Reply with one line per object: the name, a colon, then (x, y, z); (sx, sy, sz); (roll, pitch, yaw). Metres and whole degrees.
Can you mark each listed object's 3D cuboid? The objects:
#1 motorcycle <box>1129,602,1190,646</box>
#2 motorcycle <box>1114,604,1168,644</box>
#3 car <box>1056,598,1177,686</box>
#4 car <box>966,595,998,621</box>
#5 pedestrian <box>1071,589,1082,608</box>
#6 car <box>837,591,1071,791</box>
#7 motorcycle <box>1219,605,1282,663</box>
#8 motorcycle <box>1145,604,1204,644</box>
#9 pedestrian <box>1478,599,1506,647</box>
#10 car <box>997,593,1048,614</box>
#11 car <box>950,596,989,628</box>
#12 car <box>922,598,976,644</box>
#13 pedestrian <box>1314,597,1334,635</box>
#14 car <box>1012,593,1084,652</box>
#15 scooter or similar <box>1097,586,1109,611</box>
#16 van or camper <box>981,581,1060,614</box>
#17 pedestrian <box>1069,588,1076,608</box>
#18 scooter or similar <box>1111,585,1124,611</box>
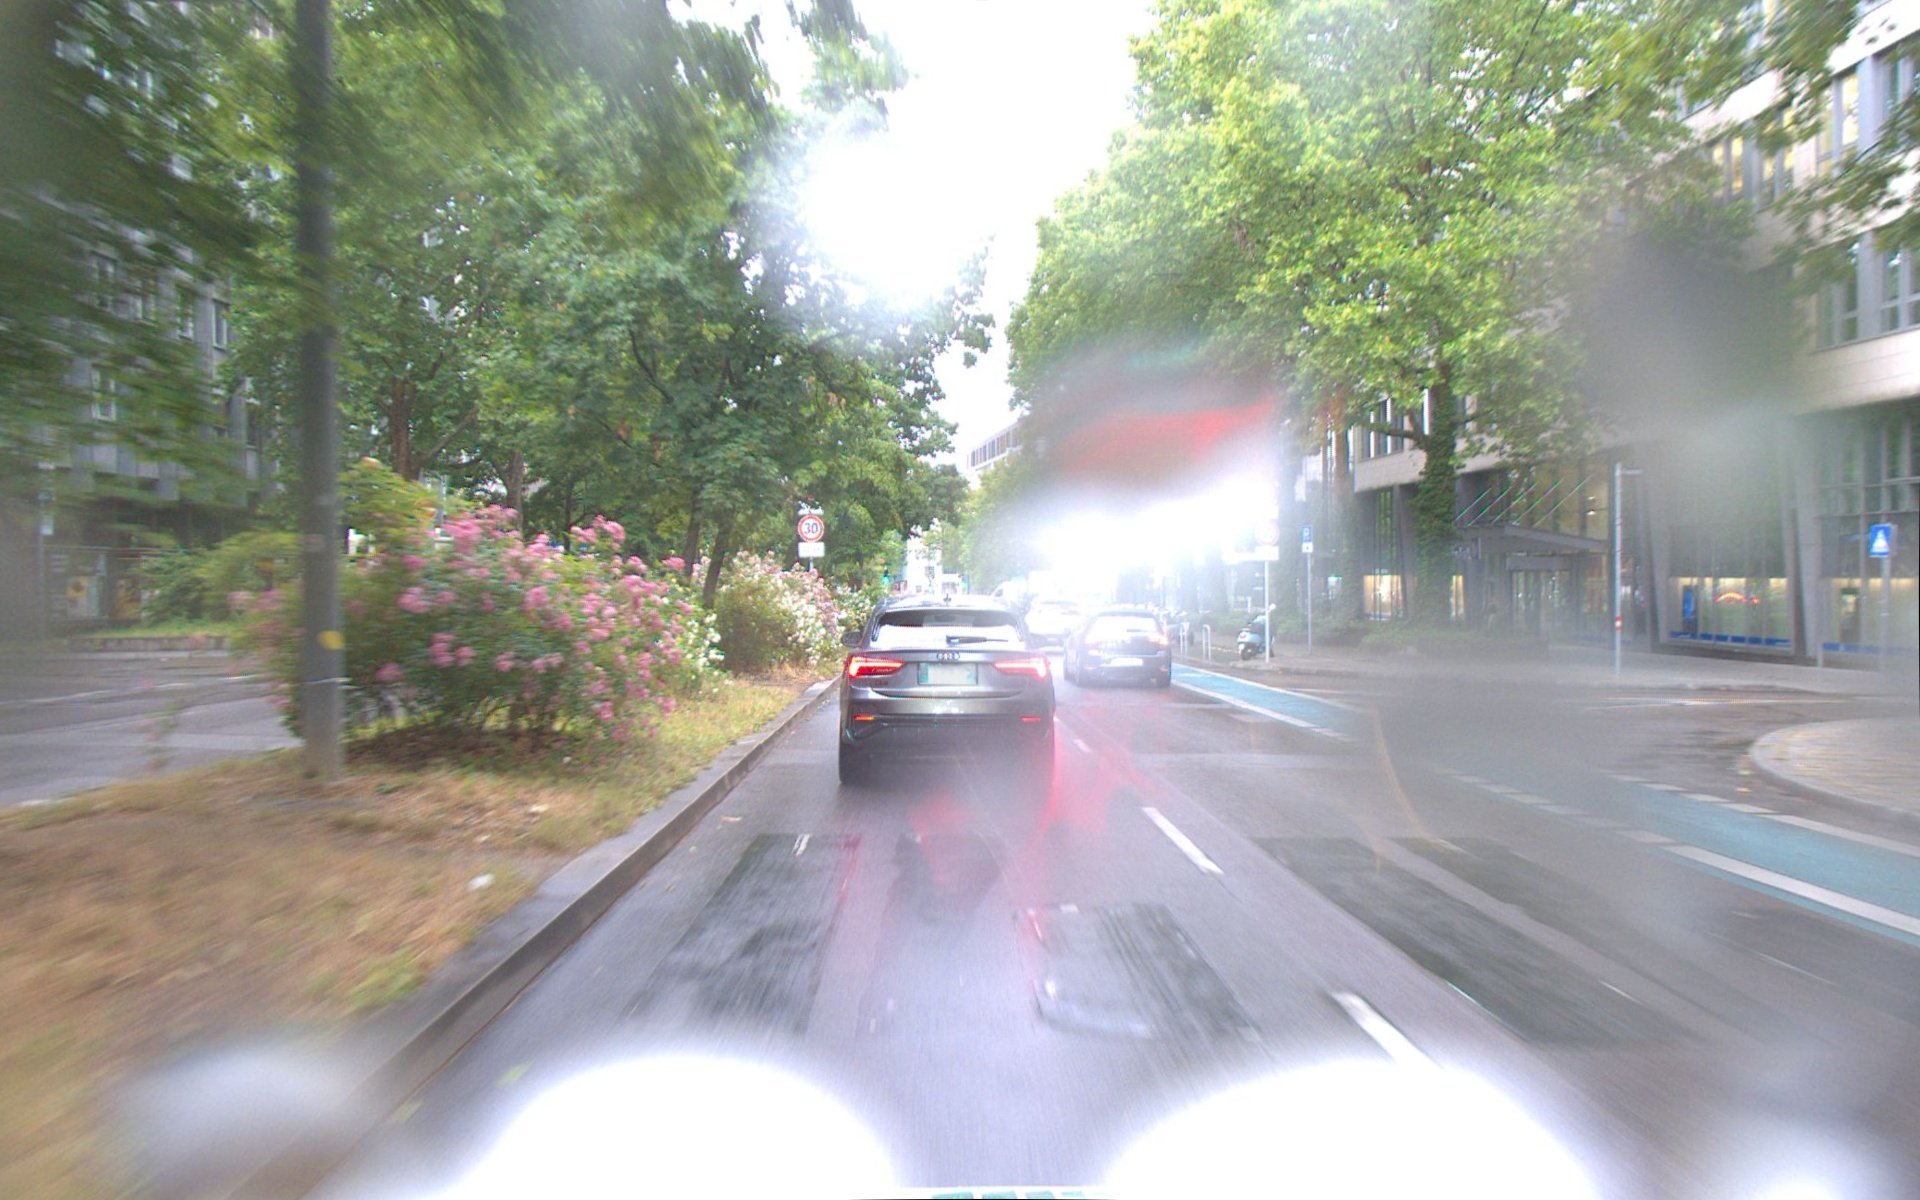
motorcycle: (6.972, 0.836, 57.872); (2.025, 1.453, 0.724); (-2, 2, -23)
motorcycle: (6.816, 0.891, 62.301); (1.929, 1.397, 0.724); (-2, 2, -23)
car: (2.911, 0.748, 31.527); (1.812, 1.550, 4.037); (1, 0, -1)
car: (1.349, 0.496, 102.903); (1.812, 1.550, 4.037); (1, 0, -1)
pedestrian: (10.675, -0.179, 151.747); (0.789, 1.726, 1.187); (1, 0, -3)
car: (-0.117, 0.716, 14.947); (1.812, 1.550, 4.037); (1, 0, -2)
motorcycle: (7.406, 0.853, 42.133); (0.672, 1.391, 1.936); (-4, -1, 38)
motorcycle: (7.197, 0.808, 55.510); (2.038, 1.234, 0.676); (-2, 0, -37)
pedestrian: (19.680, 0.844, 61.197); (0.716, 1.722, 0.823); (0, 0, 41)
car: (4.785, 0.280, 126.486); (3.572, 1.574, 1.716); (1, 0, 18)
car: (0.468, 0.577, 83.449); (1.812, 1.550, 4.037); (1, 0, -1)
car: (-0.433, 0.710, 58.068); (1.812, 1.550, 4.037); (1, 0, -1)
pedestrian: (17.845, 0.793, 81.131); (0.808, 1.835, 0.729); (1, 0, 1)
car: (2.599, 0.645, 49.647); (1.812, 1.698, 4.037); (1, 0, -1)
scooter or similar: (7.425, -0.079, 85.974); (0.478, 1.282, 1.293); (-1, 1, -1)
van or camper: (4.818, -0.201, 132.385); (5.946, 2.603, 2.103); (0, 0, 26)
pedestrian: (10.280, -0.163, 150.736); (0.542, 1.837, 0.761); (1, -1, -5)
scooter or similar: (8.025, -0.090, 84.285); (0.478, 1.282, 1.293); (-1, 1, -1)
